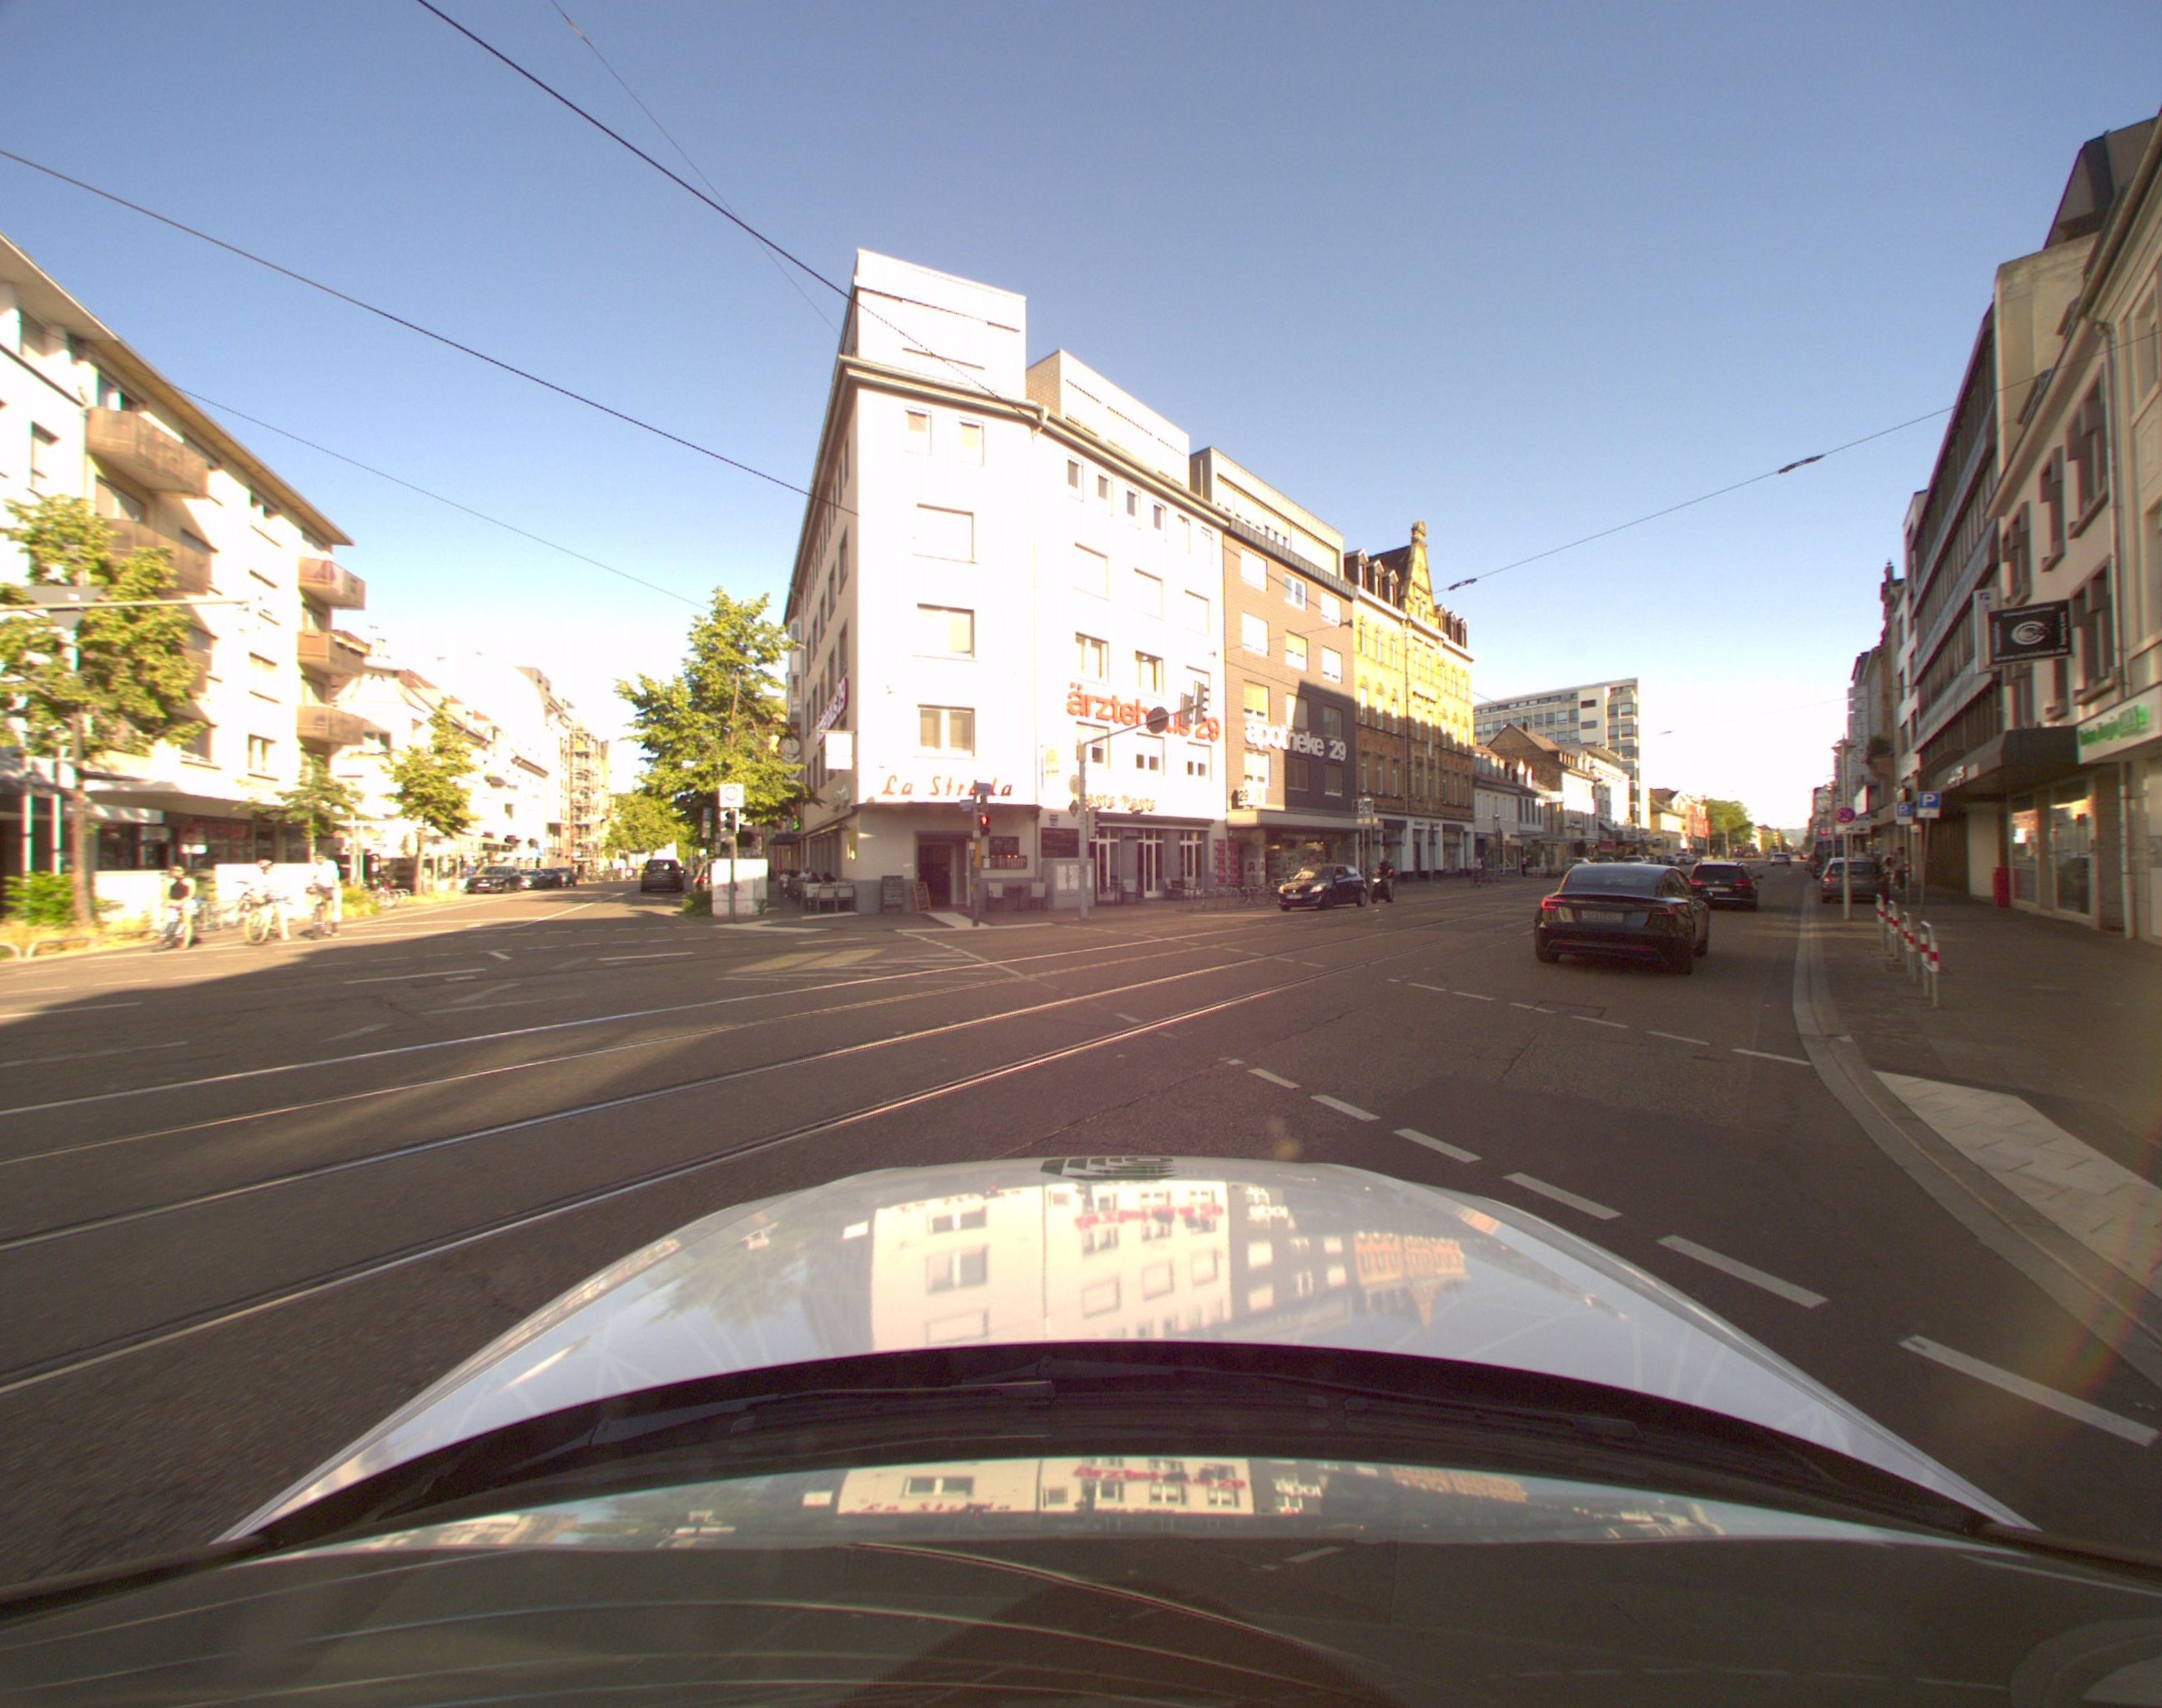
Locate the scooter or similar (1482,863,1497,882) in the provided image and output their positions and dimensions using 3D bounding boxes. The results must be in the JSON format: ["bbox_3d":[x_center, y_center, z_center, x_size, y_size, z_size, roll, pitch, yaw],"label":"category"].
[{"bbox_3d":[26.255,1.180,52.315,0.573,1.201,1.486,1,1,39],"label":"scooter or similar"}]

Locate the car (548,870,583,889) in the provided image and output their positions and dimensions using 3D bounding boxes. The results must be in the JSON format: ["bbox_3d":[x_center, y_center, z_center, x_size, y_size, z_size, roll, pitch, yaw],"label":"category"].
[{"bbox_3d":[-39.706,1.920,62.756,1.795,1.402,3.873,0,-1,-25],"label":"car"}]

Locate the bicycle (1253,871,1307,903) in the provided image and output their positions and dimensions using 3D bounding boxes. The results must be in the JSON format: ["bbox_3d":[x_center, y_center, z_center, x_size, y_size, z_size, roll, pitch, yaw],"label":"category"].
[{"bbox_3d":[7.812,1.275,32.020,1.916,1.172,0.779,1,0,37],"label":"bicycle"}]

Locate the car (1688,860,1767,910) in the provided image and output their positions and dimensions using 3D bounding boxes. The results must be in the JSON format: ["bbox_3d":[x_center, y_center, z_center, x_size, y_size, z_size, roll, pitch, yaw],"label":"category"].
[{"bbox_3d":[19.821,0.902,24.945,1.745,1.419,4.381,-1,-1,39],"label":"car"}]

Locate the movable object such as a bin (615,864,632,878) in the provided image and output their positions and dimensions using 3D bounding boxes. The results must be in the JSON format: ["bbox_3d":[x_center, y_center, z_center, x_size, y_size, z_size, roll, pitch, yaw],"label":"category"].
[{"bbox_3d":[-46.286,1.687,82.305,1.320,1.407,1.058,0,-1,-41],"label":"movable object such as a bin"}]

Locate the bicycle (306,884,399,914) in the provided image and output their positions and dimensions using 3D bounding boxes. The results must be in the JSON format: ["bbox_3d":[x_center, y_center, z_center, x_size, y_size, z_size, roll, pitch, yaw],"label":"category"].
[{"bbox_3d":[-25.916,1.600,29.019,2.415,0.958,0.539,0,-1,-36],"label":"bicycle"}]

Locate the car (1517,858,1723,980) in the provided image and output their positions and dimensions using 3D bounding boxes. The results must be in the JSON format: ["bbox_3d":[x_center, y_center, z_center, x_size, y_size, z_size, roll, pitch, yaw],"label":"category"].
[{"bbox_3d":[8.094,0.795,12.043,1.852,1.427,4.390,0,0,43],"label":"car"}]

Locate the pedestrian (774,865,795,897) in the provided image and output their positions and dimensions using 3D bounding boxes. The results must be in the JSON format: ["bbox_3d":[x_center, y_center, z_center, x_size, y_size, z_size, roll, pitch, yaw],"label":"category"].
[{"bbox_3d":[-12.985,1.172,35.657,0.713,1.347,1.050,-1,-1,-27],"label":"pedestrian"}]

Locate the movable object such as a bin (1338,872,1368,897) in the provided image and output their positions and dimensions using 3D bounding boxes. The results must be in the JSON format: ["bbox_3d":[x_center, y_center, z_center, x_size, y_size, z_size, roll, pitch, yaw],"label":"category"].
[{"bbox_3d":[12.263,1.381,36.705,1.089,1.063,0.703,1,0,43],"label":"movable object such as a bin"}]

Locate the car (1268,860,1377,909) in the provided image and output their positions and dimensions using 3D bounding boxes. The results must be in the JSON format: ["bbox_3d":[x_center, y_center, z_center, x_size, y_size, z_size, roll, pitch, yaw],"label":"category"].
[{"bbox_3d":[7.950,0.978,26.644,1.697,1.446,4.163,-4,-3,43],"label":"car"}]

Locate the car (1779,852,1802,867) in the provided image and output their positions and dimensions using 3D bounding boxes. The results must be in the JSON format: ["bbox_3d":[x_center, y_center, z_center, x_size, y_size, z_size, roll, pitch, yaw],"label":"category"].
[{"bbox_3d":[86.797,0.675,99.615,2.065,1.871,3.776,0,0,43],"label":"car"}]

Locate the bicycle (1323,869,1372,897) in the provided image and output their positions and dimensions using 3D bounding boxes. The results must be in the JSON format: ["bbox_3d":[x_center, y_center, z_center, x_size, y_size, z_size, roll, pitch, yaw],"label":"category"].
[{"bbox_3d":[11.608,1.240,35.518,1.916,1.190,0.555,-1,-1,38],"label":"bicycle"}]

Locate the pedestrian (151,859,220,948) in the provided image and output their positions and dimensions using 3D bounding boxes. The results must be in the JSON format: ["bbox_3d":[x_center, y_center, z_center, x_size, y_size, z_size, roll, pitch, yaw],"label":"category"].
[{"bbox_3d":[-17.729,0.956,16.151,0.797,1.712,0.647,1,-1,-39],"label":"pedestrian"}]

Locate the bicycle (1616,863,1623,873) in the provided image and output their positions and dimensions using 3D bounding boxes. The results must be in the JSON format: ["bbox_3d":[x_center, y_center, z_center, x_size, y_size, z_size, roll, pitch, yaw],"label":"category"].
[{"bbox_3d":[55.456,1.476,83.860,0.365,1.002,1.614,-1,-1,24],"label":"bicycle"}]

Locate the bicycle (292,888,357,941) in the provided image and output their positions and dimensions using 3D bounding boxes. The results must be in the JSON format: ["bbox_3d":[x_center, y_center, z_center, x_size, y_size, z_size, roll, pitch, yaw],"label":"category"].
[{"bbox_3d":[-16.505,1.293,17.809,0.764,1.007,1.706,-4,1,-35],"label":"bicycle"}]

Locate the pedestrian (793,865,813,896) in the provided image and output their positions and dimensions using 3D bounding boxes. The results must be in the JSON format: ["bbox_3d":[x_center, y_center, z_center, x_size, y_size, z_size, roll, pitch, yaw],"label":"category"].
[{"bbox_3d":[-12.330,1.166,36.122,0.734,1.360,0.951,-1,-1,-24],"label":"pedestrian"}]

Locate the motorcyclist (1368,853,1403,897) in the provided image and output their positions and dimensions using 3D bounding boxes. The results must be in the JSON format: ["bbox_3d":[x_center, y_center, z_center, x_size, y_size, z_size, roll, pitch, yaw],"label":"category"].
[{"bbox_3d":[11.271,0.772,30.124,0.795,1.558,1.153,-3,-2,43],"label":"motorcyclist"}]

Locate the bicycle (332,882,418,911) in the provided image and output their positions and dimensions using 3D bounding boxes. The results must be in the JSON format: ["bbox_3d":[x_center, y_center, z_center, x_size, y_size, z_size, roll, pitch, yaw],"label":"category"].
[{"bbox_3d":[-26.798,1.586,30.966,2.414,1.006,0.649,0,-1,-35],"label":"bicycle"}]

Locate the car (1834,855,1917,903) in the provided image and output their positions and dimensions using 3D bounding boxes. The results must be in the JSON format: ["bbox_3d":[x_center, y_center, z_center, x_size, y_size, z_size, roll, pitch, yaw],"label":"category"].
[{"bbox_3d":[26.422,0.793,27.142,1.830,1.462,4.327,-2,-2,44],"label":"car"}]

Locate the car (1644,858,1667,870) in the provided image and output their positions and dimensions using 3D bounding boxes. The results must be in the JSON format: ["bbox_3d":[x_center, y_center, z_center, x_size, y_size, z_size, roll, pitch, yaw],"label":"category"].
[{"bbox_3d":[73.718,1.298,104.461,3.882,1.508,1.753,0,-1,-44],"label":"car"}]

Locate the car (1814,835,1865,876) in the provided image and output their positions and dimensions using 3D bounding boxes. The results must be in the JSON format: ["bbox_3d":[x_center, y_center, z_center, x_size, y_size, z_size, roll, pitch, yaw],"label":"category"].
[{"bbox_3d":[48.959,0.113,52.638,2.150,2.462,5.395,-3,-2,41],"label":"car"}]

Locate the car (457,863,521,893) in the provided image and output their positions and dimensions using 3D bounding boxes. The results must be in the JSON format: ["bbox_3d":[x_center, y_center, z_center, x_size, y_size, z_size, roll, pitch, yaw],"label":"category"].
[{"bbox_3d":[-33.560,1.317,46.319,2.001,1.598,3.970,1,-1,-22],"label":"car"}]

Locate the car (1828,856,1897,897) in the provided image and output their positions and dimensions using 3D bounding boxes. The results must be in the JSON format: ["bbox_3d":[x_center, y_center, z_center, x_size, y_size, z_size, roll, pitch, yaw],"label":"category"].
[{"bbox_3d":[29.747,0.814,31.105,1.728,1.462,4.322,-2,-1,42],"label":"car"}]

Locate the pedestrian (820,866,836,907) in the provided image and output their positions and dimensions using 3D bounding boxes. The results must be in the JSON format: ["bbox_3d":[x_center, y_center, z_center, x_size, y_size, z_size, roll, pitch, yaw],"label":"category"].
[{"bbox_3d":[-8.386,1.081,27.033,0.489,1.322,0.650,-1,-1,-16],"label":"pedestrian"}]

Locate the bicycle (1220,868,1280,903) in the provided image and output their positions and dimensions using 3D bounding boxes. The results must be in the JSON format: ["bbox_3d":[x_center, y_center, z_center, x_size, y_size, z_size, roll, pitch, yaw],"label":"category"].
[{"bbox_3d":[6.330,1.174,30.529,2.083,1.223,0.779,1,0,37],"label":"bicycle"}]

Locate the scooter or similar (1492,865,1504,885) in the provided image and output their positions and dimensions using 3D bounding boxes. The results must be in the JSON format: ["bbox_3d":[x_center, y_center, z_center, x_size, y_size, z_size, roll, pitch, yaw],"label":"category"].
[{"bbox_3d":[26.612,1.338,51.993,0.360,1.201,1.486,1,1,39],"label":"scooter or similar"}]

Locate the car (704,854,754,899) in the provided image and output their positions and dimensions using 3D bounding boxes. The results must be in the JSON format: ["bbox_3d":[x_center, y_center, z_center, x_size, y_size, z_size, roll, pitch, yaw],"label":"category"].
[{"bbox_3d":[-15.587,0.948,36.131,1.912,1.852,4.255,0,-1,-23],"label":"car"}]

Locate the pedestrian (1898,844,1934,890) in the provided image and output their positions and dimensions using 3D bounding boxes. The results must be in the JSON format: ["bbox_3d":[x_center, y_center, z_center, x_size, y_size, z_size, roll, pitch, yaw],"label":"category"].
[{"bbox_3d":[34.475,0.537,33.637,0.914,1.843,1.005,-4,-3,43],"label":"pedestrian"}]

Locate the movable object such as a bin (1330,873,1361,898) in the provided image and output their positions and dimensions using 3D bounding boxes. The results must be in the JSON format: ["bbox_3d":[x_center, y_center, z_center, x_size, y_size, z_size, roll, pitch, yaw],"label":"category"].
[{"bbox_3d":[11.764,1.378,36.171,1.089,1.072,0.739,1,0,43],"label":"movable object such as a bin"}]

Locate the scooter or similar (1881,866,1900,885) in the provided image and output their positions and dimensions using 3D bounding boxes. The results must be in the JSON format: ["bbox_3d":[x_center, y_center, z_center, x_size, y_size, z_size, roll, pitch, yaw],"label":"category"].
[{"bbox_3d":[42.351,1.138,42.612,0.587,0.936,1.306,-3,-2,40],"label":"scooter or similar"}]

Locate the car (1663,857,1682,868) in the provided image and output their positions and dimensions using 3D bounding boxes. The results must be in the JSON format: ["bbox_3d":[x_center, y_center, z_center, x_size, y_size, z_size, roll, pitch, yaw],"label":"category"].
[{"bbox_3d":[85.507,1.214,117.728,1.702,1.572,3.872,-1,-1,44],"label":"car"}]

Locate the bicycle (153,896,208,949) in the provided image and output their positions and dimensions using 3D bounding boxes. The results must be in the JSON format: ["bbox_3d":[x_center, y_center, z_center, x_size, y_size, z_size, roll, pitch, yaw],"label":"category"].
[{"bbox_3d":[-17.988,1.354,16.284,0.484,0.955,1.439,0,-1,-38],"label":"bicycle"}]

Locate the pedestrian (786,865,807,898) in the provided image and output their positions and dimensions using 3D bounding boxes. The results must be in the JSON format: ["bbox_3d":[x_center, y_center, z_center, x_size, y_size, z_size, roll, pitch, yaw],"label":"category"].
[{"bbox_3d":[-12.179,1.161,34.811,0.734,1.347,1.051,-1,-1,-26],"label":"pedestrian"}]

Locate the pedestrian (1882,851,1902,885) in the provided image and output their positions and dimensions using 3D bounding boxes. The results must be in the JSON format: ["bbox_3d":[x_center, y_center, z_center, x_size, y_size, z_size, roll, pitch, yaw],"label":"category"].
[{"bbox_3d":[41.620,0.735,41.801,0.551,1.715,0.960,-3,-3,41],"label":"pedestrian"}]

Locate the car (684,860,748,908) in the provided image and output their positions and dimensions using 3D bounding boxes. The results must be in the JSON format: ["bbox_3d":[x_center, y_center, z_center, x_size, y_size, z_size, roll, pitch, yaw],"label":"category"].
[{"bbox_3d":[-13.431,1.045,30.108,2.010,1.636,4.255,0,-1,-23],"label":"car"}]

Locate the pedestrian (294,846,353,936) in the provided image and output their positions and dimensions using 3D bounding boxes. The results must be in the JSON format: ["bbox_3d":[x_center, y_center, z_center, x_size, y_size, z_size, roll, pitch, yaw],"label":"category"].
[{"bbox_3d":[-16.514,0.777,17.782,0.784,1.866,0.990,-3,1,-38],"label":"pedestrian"}]

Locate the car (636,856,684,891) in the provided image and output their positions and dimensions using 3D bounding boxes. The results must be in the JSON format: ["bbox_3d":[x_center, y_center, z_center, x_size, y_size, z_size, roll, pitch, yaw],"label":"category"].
[{"bbox_3d":[-21.814,0.991,42.319,1.912,1.733,4.255,0,-1,-23],"label":"car"}]

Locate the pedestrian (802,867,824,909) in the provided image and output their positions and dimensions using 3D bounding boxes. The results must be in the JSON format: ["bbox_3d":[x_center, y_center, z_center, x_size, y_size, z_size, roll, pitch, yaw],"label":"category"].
[{"bbox_3d":[-8.587,1.076,26.097,0.589,1.313,0.556,-1,-1,-24],"label":"pedestrian"}]

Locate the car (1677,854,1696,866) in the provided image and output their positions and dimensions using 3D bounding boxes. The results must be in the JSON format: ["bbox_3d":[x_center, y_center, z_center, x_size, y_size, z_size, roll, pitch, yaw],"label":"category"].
[{"bbox_3d":[98.121,0.919,131.995,1.990,1.961,4.753,-1,-1,42],"label":"car"}]

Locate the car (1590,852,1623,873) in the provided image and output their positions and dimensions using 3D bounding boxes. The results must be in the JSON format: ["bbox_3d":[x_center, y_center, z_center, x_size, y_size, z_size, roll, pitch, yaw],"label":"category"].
[{"bbox_3d":[40.607,0.656,62.929,1.633,1.566,2.846,-1,-1,43],"label":"car"}]

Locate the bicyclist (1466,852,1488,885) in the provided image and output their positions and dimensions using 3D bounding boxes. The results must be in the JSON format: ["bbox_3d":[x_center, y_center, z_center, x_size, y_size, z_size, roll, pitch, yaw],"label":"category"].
[{"bbox_3d":[21.589,0.789,44.366,0.743,1.729,1.153,-1,-1,43],"label":"bicyclist"}]

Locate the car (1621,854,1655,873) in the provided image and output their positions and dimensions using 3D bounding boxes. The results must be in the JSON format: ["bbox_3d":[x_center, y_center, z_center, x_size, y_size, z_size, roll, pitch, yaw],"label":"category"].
[{"bbox_3d":[48.994,0.821,71.588,1.872,1.594,4.288,-3,-2,43],"label":"car"}]

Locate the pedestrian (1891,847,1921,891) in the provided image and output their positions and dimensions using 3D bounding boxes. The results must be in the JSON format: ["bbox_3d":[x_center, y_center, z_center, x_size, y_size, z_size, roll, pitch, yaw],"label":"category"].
[{"bbox_3d":[33.223,0.592,32.809,0.772,1.752,1.038,-1,-1,43],"label":"pedestrian"}]

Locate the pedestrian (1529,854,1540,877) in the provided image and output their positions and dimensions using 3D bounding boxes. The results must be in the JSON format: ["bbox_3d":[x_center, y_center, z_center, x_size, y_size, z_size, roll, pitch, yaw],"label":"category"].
[{"bbox_3d":[36.259,0.943,65.131,0.650,1.823,0.646,-1,-1,37],"label":"pedestrian"}]

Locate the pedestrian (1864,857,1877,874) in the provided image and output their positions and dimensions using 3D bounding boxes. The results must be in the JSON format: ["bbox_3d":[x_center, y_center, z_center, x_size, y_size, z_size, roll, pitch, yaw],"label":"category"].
[{"bbox_3d":[66.763,0.982,68.853,0.728,1.402,0.989,-1,-1,42],"label":"pedestrian"}]

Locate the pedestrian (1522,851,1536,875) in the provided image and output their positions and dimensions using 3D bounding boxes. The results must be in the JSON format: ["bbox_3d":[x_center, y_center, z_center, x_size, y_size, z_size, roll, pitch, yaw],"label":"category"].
[{"bbox_3d":[33.858,0.690,61.531,0.721,1.775,0.609,0,-1,-35],"label":"pedestrian"}]

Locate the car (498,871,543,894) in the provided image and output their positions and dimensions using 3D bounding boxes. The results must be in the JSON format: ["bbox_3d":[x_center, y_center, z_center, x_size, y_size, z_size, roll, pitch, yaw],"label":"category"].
[{"bbox_3d":[-36.601,1.803,53.260,1.795,1.402,3.873,0,-1,-25],"label":"car"}]

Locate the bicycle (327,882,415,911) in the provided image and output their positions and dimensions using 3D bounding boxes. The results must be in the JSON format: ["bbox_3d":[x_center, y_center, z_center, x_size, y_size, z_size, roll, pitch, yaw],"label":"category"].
[{"bbox_3d":[-26.343,1.579,30.263,2.406,0.978,0.649,0,-1,-34],"label":"bicycle"}]

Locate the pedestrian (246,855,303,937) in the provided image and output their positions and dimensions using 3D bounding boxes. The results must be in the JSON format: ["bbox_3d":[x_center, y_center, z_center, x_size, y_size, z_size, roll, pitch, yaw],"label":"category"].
[{"bbox_3d":[-17.417,0.898,17.599,0.784,1.728,0.553,1,-1,-38],"label":"pedestrian"}]

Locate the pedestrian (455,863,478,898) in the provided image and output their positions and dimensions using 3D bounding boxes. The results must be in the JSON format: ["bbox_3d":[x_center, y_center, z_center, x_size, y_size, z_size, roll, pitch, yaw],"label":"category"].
[{"bbox_3d":[-36.281,1.540,48.074,0.959,2.013,1.077,-4,1,-37],"label":"pedestrian"}]

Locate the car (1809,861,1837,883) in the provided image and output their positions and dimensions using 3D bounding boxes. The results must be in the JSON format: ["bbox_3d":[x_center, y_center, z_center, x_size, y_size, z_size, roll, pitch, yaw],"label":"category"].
[{"bbox_3d":[66.394,1.613,72.832,1.804,1.871,3.776,0,0,43],"label":"car"}]

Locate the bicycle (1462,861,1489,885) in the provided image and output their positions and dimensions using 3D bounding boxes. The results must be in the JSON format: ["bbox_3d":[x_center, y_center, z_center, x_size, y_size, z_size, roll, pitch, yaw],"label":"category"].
[{"bbox_3d":[21.528,1.019,44.457,0.743,1.293,2.037,-1,-1,43],"label":"bicycle"}]

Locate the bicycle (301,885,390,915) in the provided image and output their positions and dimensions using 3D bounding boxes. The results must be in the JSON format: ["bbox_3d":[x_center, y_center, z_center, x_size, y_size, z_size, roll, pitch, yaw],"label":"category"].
[{"bbox_3d":[-25.569,1.580,28.380,2.237,0.958,0.648,0,-1,-36],"label":"bicycle"}]

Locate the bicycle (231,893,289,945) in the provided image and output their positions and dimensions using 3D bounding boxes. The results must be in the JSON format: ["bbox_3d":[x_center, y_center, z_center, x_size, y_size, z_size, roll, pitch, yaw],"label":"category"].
[{"bbox_3d":[-17.287,1.349,17.177,0.556,0.968,1.775,0,-1,-35],"label":"bicycle"}]

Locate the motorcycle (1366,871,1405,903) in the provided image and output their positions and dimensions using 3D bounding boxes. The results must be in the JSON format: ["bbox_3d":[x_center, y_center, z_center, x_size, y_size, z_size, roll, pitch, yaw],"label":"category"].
[{"bbox_3d":[11.283,1.208,30.150,0.564,1.120,2.130,-2,-2,42],"label":"motorcycle"}]

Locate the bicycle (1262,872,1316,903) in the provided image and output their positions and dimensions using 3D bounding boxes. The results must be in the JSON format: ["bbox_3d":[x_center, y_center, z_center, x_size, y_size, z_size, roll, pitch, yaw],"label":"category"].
[{"bbox_3d":[8.326,1.337,32.632,1.915,1.192,0.779,-1,-1,37],"label":"bicycle"}]

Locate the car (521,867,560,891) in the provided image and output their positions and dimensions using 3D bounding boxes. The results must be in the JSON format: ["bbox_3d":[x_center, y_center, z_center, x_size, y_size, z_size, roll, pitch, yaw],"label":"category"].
[{"bbox_3d":[-38.480,1.737,58.036,1.726,1.610,3.568,0,0,-24],"label":"car"}]

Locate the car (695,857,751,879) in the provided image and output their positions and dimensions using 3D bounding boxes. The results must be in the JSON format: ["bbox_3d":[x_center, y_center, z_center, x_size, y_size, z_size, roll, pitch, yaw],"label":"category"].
[{"bbox_3d":[-37.894,1.454,86.254,5.417,2.145,1.984,-1,-1,-25],"label":"car"}]
